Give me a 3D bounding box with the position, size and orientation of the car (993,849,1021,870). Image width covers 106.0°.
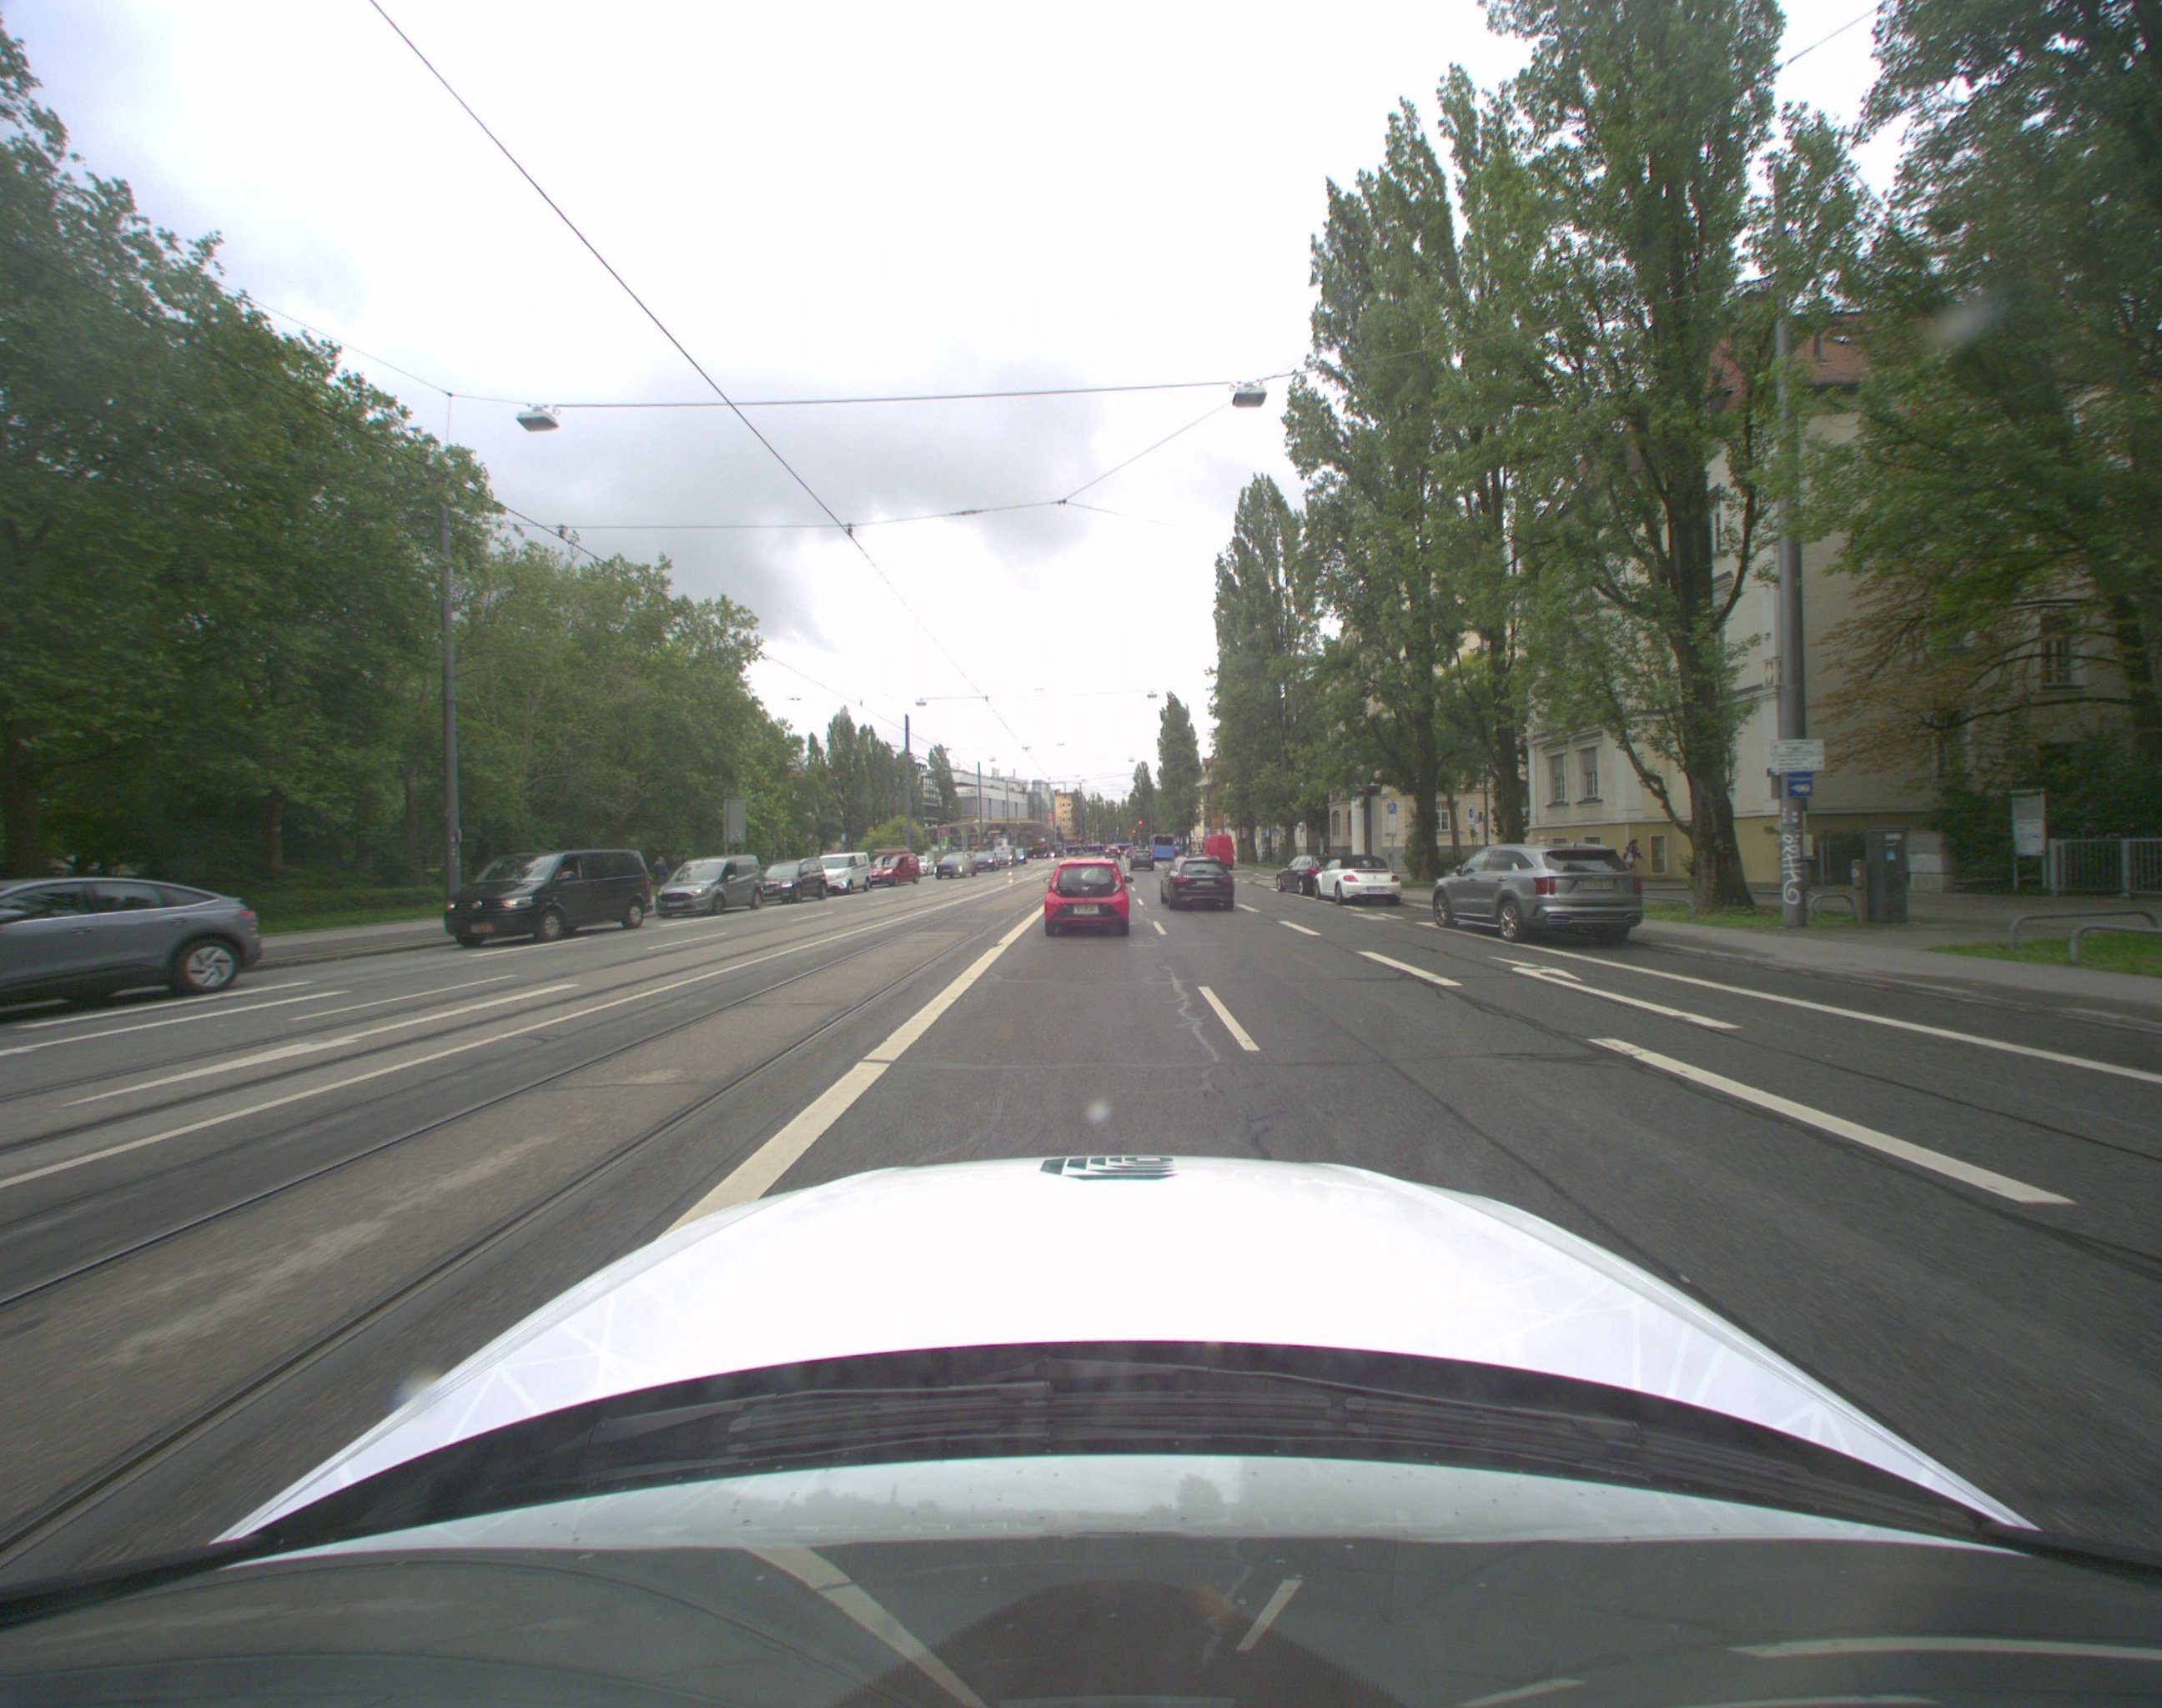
[{"bbox_3d":[-6.559,0.456,72.433,1.792,1.665,4.522,-3,0,3],"label":"car"}]

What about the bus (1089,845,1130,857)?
[{"bbox_3d":[7.330,-0.783,211.698,10.528,2.846,1.999,-1,2,-2],"label":"bus"}]

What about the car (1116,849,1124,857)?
[{"bbox_3d":[9.072,-0.266,189.330,1.795,1.596,4.005,-1,-3,6],"label":"car"}]

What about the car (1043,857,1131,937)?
[{"bbox_3d":[0.094,0.800,16.722,1.624,1.440,3.375,0,0,-1],"label":"car"}]

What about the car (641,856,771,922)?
[{"bbox_3d":[-11.639,1.010,25.677,1.792,1.788,4.521,-3,0,2],"label":"car"}]

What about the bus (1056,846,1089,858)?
[{"bbox_3d":[-2.223,-0.458,211.273,8.445,2.846,1.999,-1,2,-3],"label":"bus"}]

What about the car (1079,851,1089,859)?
[{"bbox_3d":[0.588,0.114,154.921,1.774,1.486,4.002,-1,0,2],"label":"car"}]

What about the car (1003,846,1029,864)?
[{"bbox_3d":[-6.530,0.118,82.487,1.791,1.665,4.524,-3,0,4],"label":"car"}]

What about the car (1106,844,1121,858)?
[{"bbox_3d":[3.961,-0.359,98.917,1.729,1.549,4.578,-2,0,2],"label":"car"}]

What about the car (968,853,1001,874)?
[{"bbox_3d":[-7.598,0.740,64.551,1.792,1.530,4.522,-3,0,3],"label":"car"}]

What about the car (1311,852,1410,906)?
[{"bbox_3d":[8.534,0.718,25.257,1.792,1.508,4.002,-1,0,2],"label":"car"}]

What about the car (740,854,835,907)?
[{"bbox_3d":[-11.251,0.956,31.587,1.792,1.788,4.521,-3,0,2],"label":"car"}]

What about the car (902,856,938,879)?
[{"bbox_3d":[-11.981,0.999,60.898,1.794,1.530,4.517,-3,0,-1],"label":"car"}]

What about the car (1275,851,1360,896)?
[{"bbox_3d":[8.699,0.689,30.337,1.794,1.508,4.448,-1,0,-1],"label":"car"}]

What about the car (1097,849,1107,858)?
[{"bbox_3d":[3.640,-0.050,140.614,1.774,1.486,4.002,-1,0,2],"label":"car"}]

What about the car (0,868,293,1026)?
[{"bbox_3d":[-12.397,1.049,9.495,1.792,1.634,4.590,-2,0,2],"label":"car"}]

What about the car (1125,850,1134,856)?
[{"bbox_3d":[11.388,-0.218,191.171,1.774,1.486,4.002,-1,0,2],"label":"car"}]

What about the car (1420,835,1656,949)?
[{"bbox_3d":[8.190,0.595,15.203,1.793,1.742,4.701,-2,0,1],"label":"car"}]

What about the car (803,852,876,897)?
[{"bbox_3d":[-11.108,0.914,37.778,1.793,1.861,4.632,-3,0,1],"label":"car"}]

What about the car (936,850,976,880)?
[{"bbox_3d":[-8.151,0.693,53.458,1.793,1.788,4.518,-3,0,0],"label":"car"}]

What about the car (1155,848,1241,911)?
[{"bbox_3d":[3.287,0.656,23.752,1.857,1.549,4.704,-2,1,0],"label":"car"}]

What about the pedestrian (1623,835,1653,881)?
[{"bbox_3d":[19.233,0.127,28.149,0.550,1.547,0.739,-1,2,0],"label":"pedestrian"}]

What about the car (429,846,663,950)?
[{"bbox_3d":[-11.805,0.870,18.509,1.792,1.991,5.041,-2,0,2],"label":"car"}]

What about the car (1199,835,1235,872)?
[{"bbox_3d":[9.990,-0.102,60.029,1.986,2.574,4.682,-1,2,2],"label":"car"}]

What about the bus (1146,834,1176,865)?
[{"bbox_3d":[9.467,-0.648,97.379,2.895,3.395,10.812,-1,2,2],"label":"bus"}]

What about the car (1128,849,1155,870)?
[{"bbox_3d":[4.486,0.405,60.903,1.774,1.486,4.002,-1,0,2],"label":"car"}]

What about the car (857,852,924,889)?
[{"bbox_3d":[-10.399,0.866,44.856,1.787,1.788,4.533,-3,0,12],"label":"car"}]

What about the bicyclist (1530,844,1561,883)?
[{"bbox_3d":[16.129,0.335,28.277,0.658,1.314,0.706,-2,0,0],"label":"bicyclist"}]

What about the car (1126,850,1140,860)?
[{"bbox_3d":[7.545,0.142,118.279,1.774,1.486,4.002,-1,0,2],"label":"car"}]
